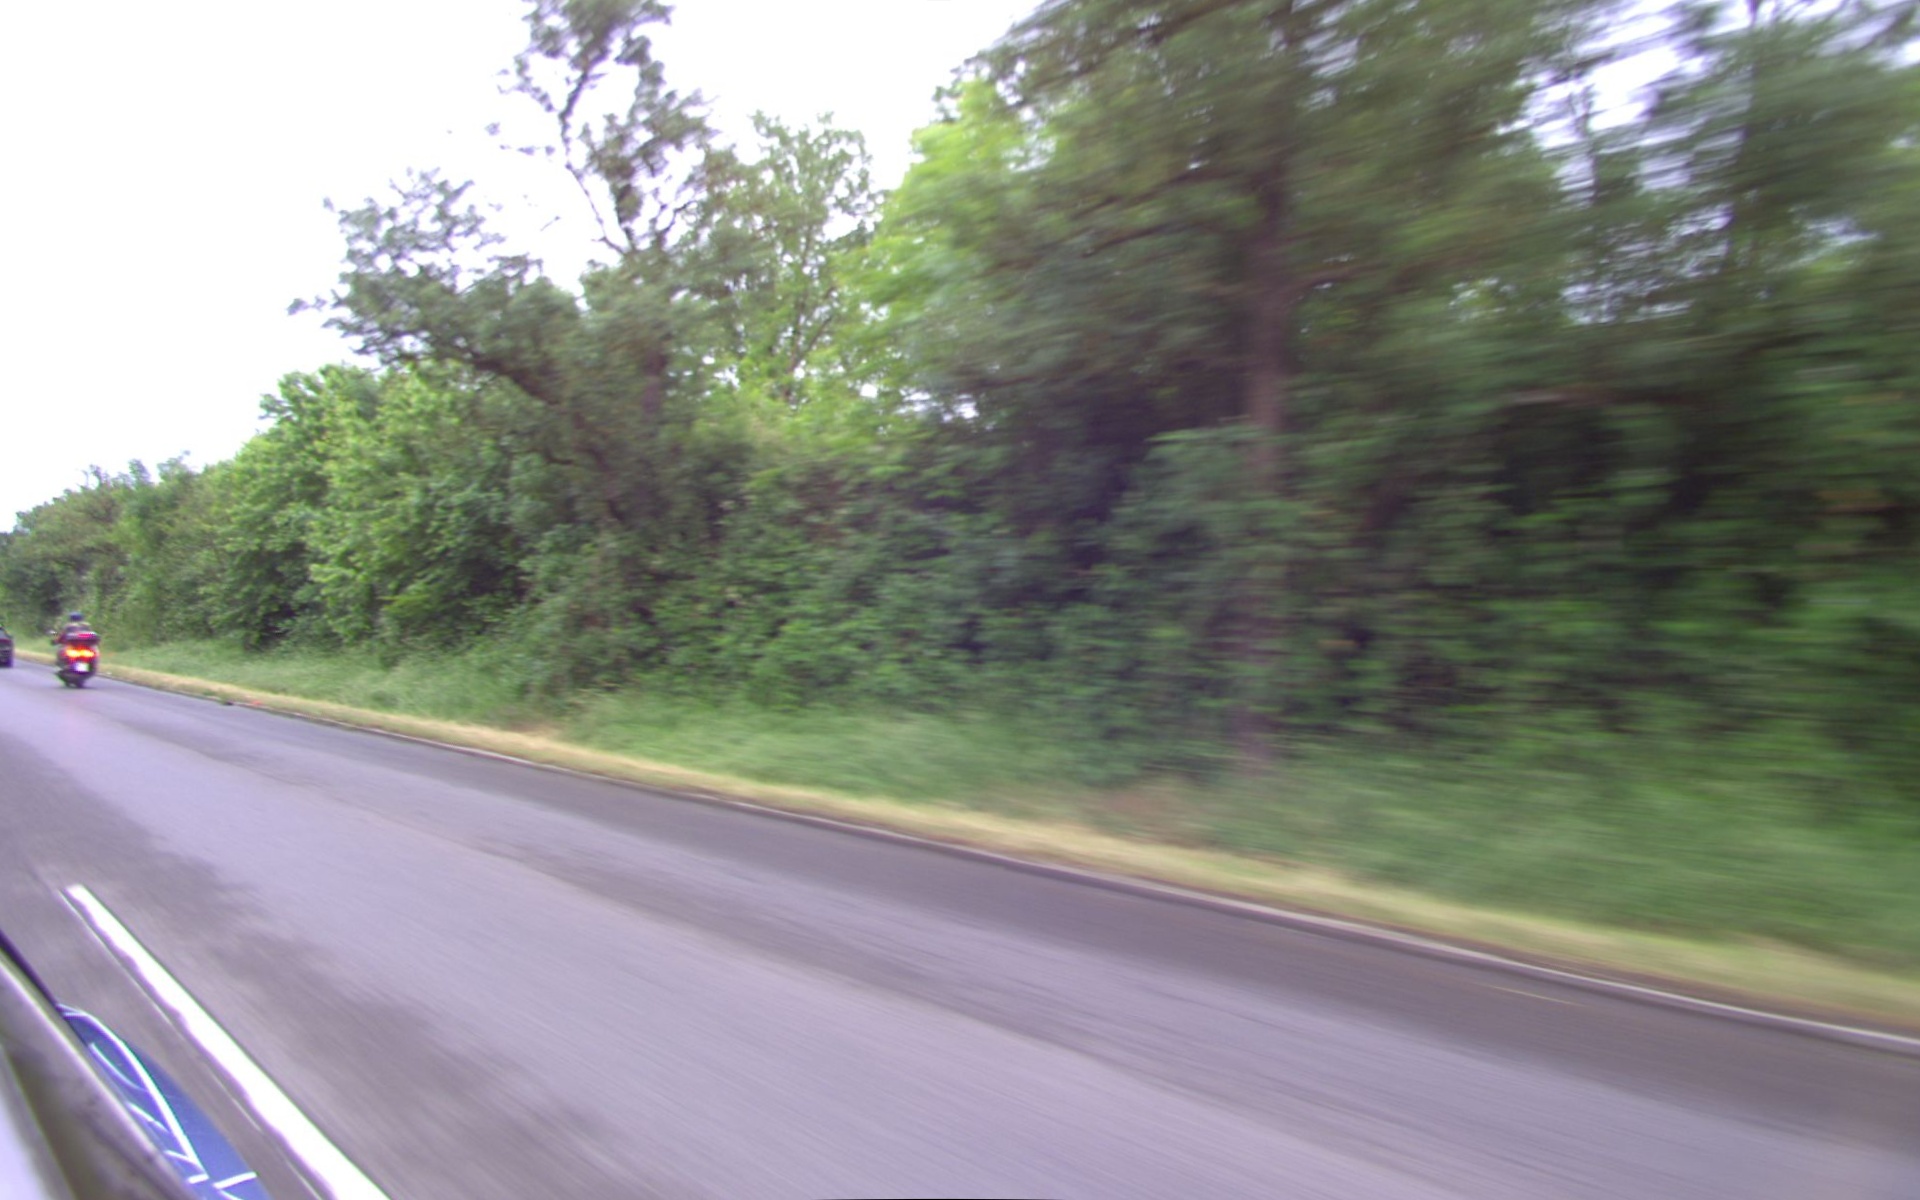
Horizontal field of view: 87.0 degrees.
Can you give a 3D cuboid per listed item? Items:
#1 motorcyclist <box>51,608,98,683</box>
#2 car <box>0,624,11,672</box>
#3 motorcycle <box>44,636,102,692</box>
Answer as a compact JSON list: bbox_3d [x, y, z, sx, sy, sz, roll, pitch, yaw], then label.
[{"bbox_3d":[-20.042,1.017,22.905,0.667,1.666,0.688,-1,-2,41],"label":"motorcyclist"},{"bbox_3d":[-32.115,1.502,32.653,3.622,1.485,1.770,-1,-3,41],"label":"car"},{"bbox_3d":[-20.375,1.442,23.222,2.100,1.207,0.658,-1,-4,41],"label":"motorcycle"}]
